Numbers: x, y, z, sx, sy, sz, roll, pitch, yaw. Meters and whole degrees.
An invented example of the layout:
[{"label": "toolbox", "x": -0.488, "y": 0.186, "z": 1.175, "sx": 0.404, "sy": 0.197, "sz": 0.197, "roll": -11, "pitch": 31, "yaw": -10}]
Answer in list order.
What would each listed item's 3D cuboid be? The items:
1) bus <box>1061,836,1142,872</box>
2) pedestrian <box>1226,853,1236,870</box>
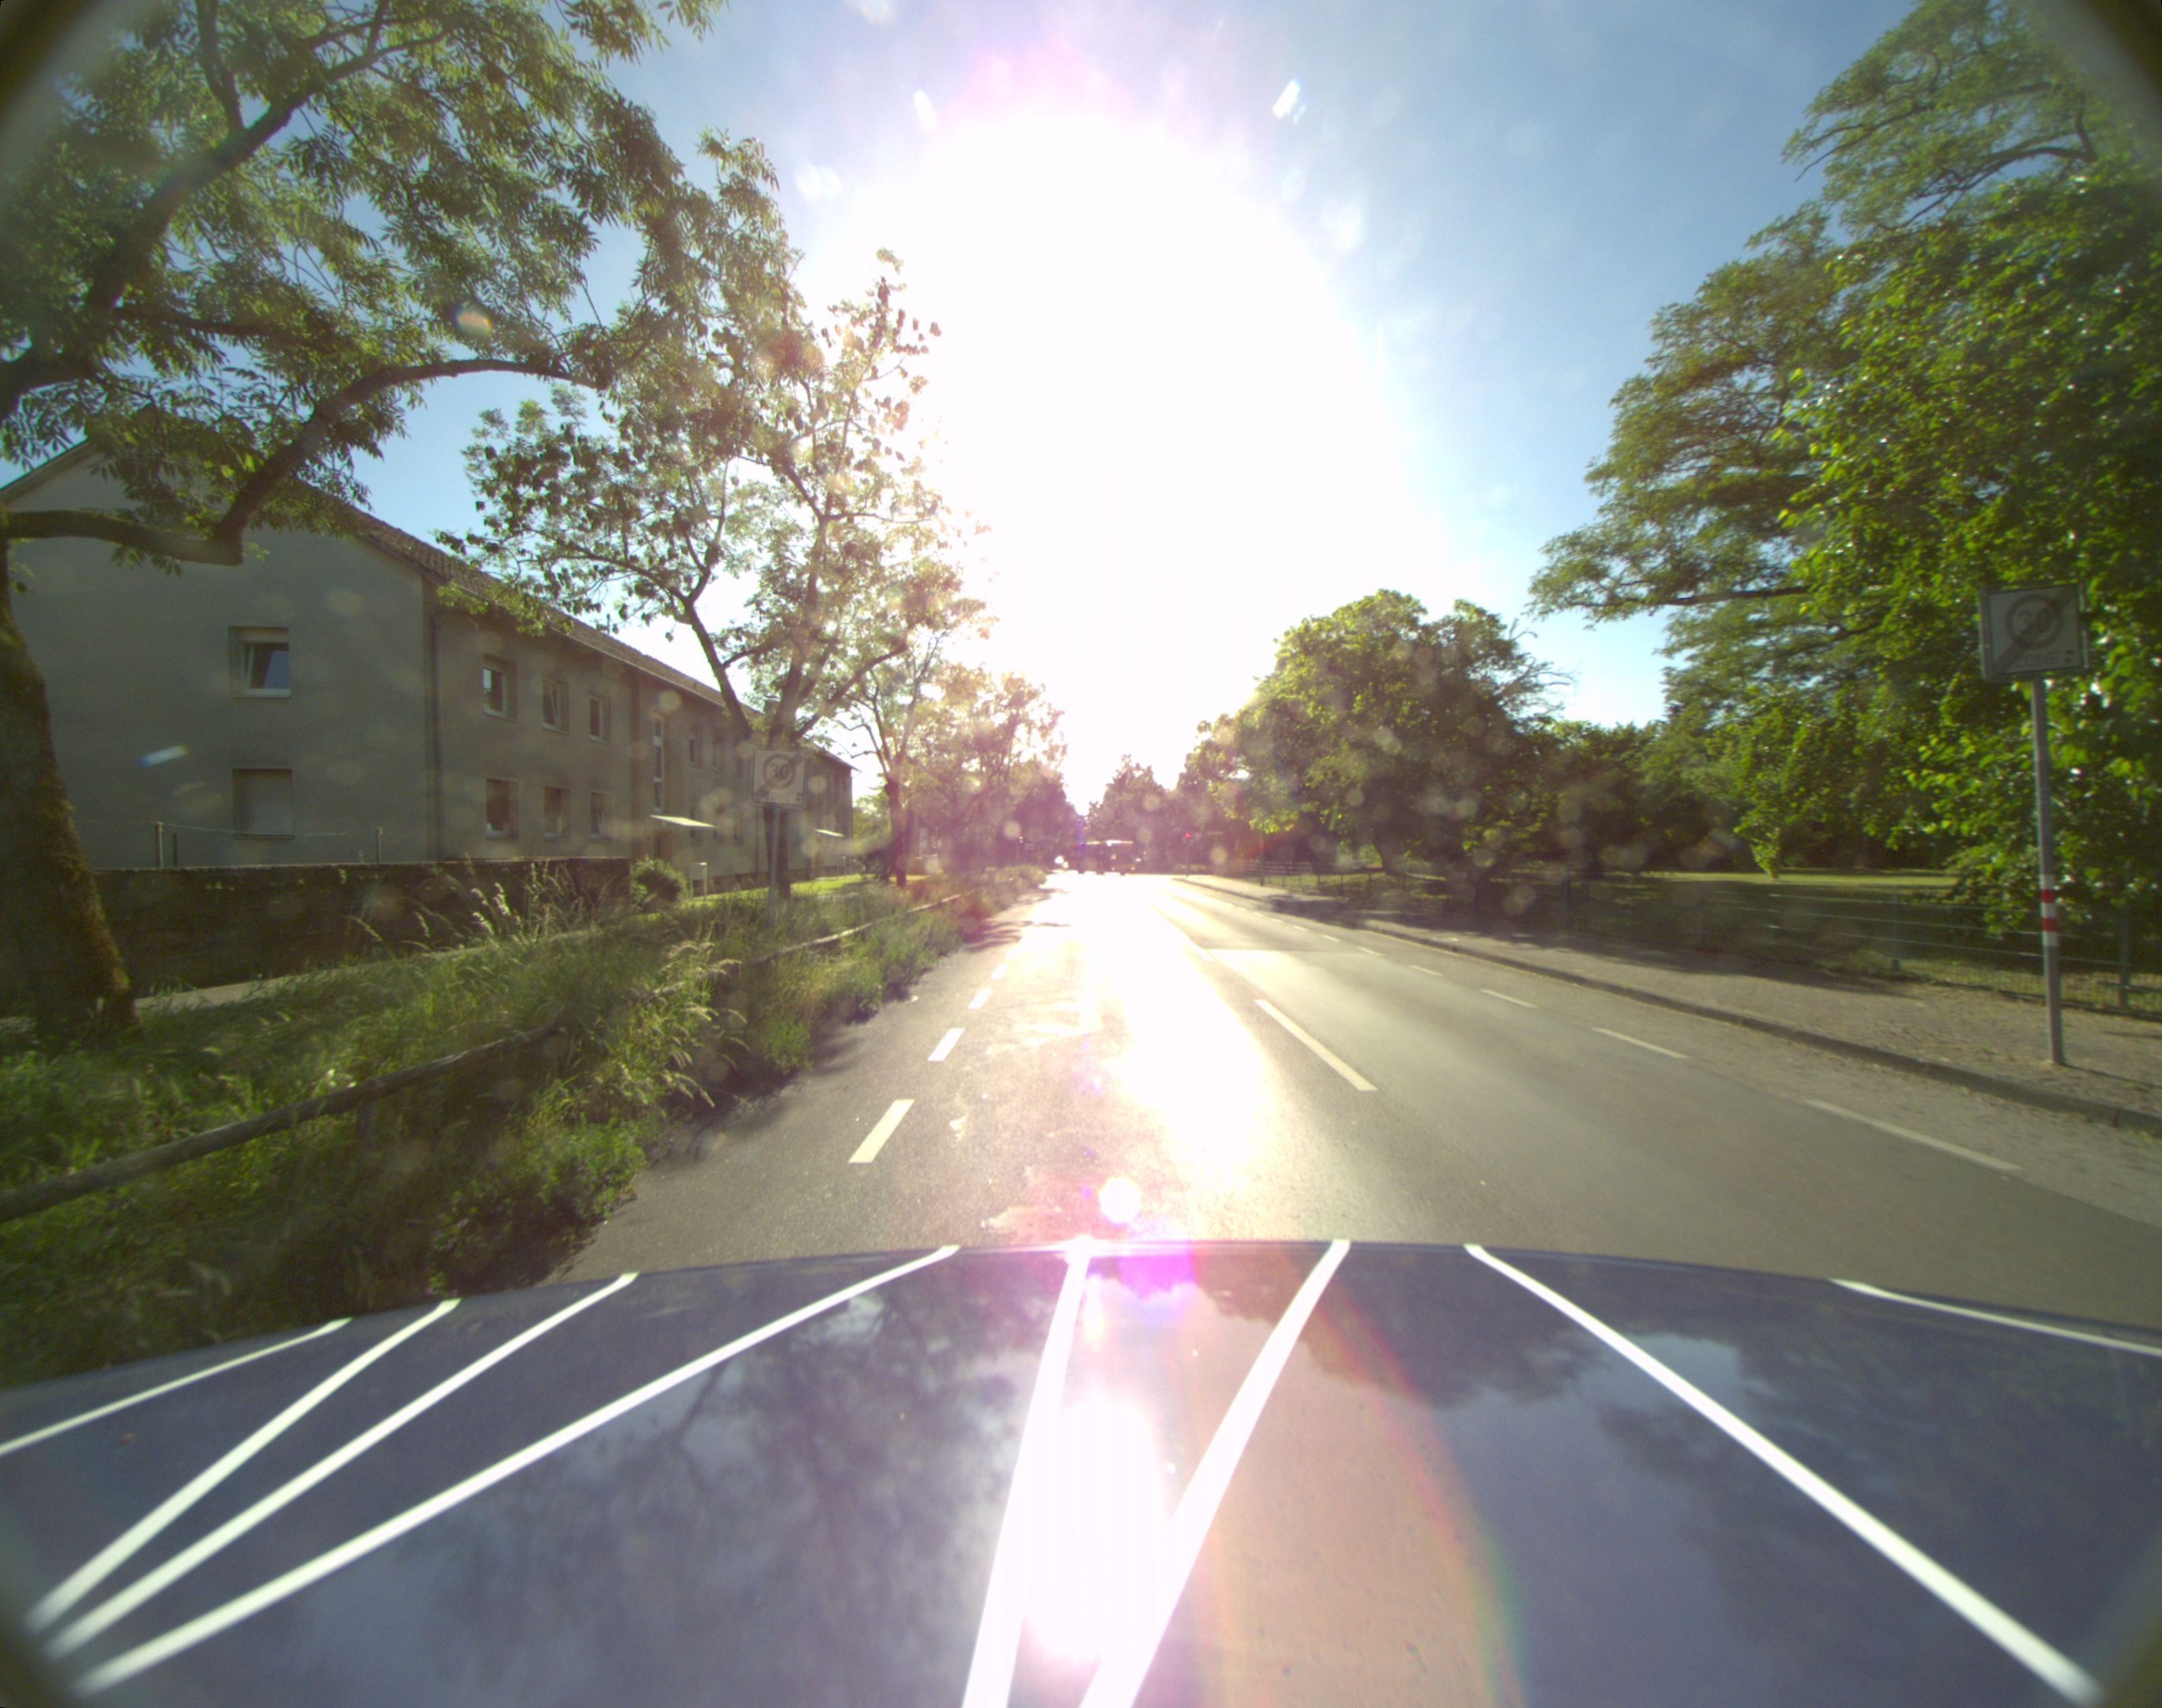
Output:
[{"label": "bus", "x": 1.686, "y": 0.135, "z": 72.456, "sx": 3.133, "sy": 3.080, "sz": 12.459, "roll": -2, "pitch": -1, "yaw": -21}, {"label": "pedestrian", "x": 14.636, "y": 0.762, "z": 74.151, "sx": 0.800, "sy": 1.624, "sz": 0.647, "roll": -2, "pitch": 0, "yaw": 1}]
